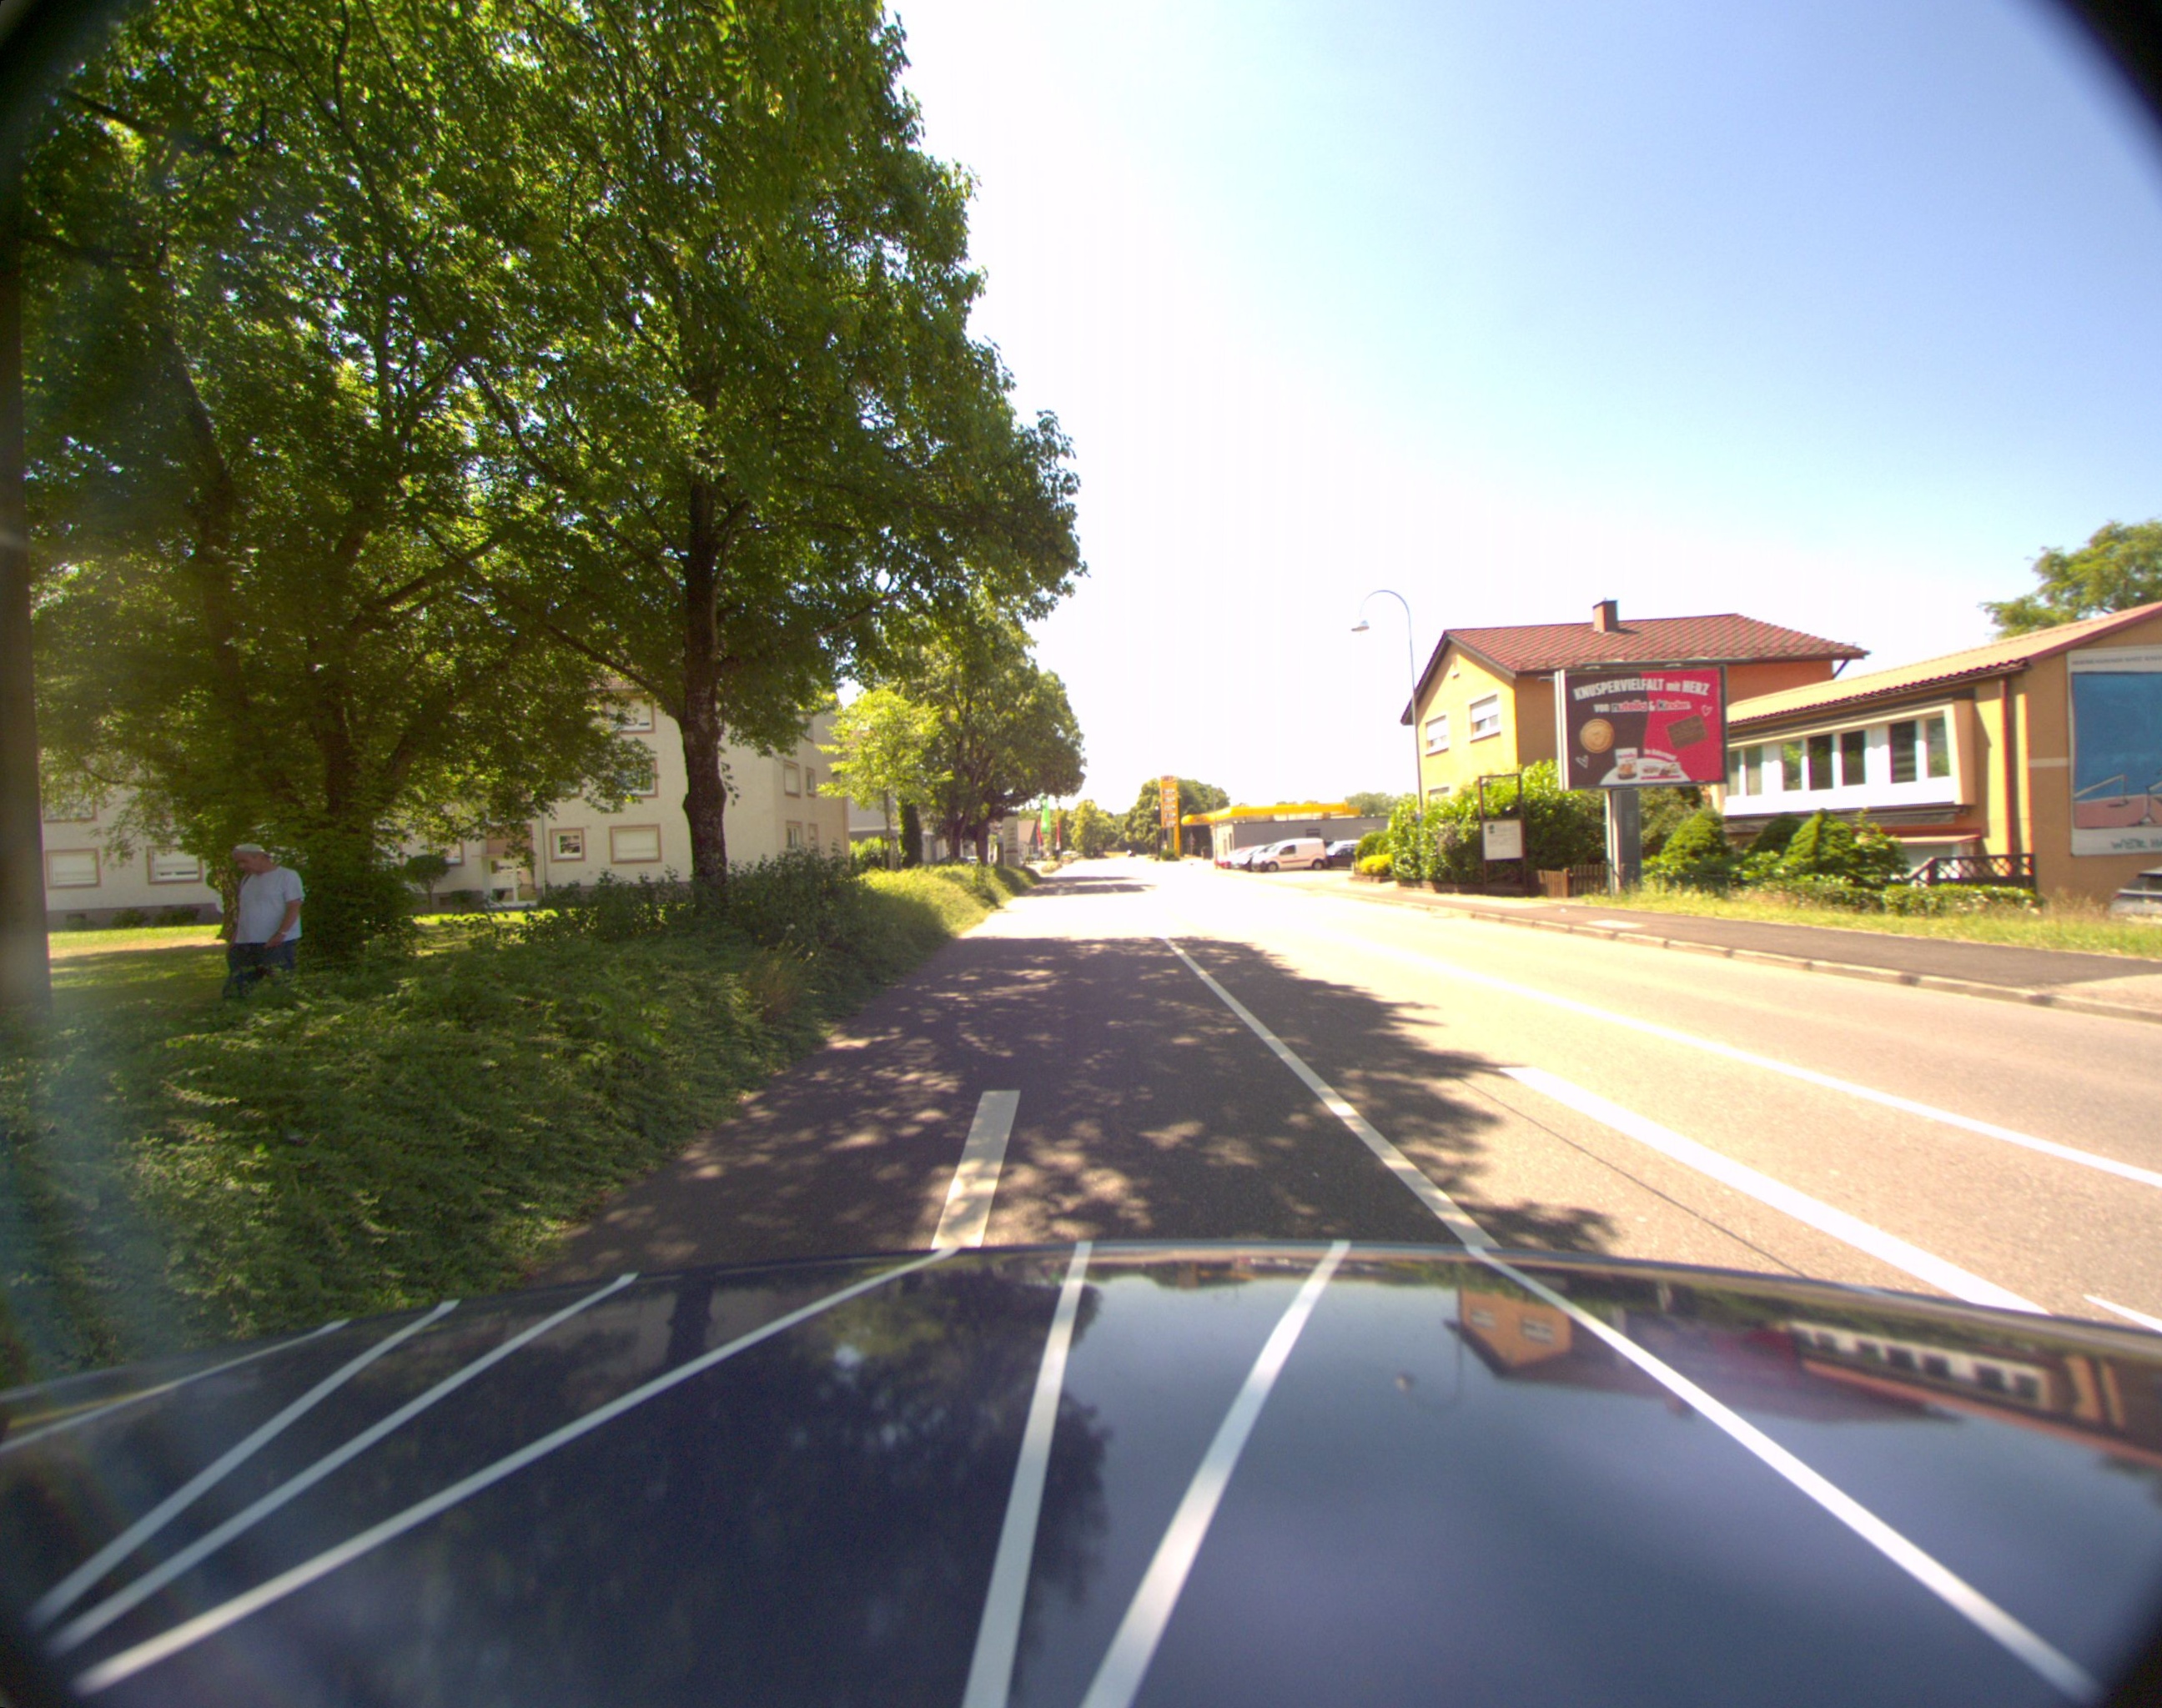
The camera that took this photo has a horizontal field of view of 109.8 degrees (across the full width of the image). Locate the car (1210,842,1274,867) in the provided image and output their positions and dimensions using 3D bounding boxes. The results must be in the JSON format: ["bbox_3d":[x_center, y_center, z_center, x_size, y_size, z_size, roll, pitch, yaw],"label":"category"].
[{"bbox_3d":[12.252,0.020,58.000,4.402,1.750,1.874,-2,1,-5],"label":"car"}]

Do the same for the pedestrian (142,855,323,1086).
[{"bbox_3d":[-7.427,0.948,6.709,0.675,1.862,0.901,-2,1,-21],"label":"pedestrian"}]

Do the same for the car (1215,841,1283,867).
[{"bbox_3d":[12.245,0.005,55.499,4.402,1.750,1.874,-2,1,-5],"label":"car"}]

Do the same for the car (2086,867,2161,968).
[{"bbox_3d":[19.848,1.013,12.356,4.224,1.599,1.772,-1,1,7],"label":"car"}]

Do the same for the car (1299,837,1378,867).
[{"bbox_3d":[16.489,-0.159,48.689,4.402,1.815,1.874,-2,2,-5],"label":"car"}]

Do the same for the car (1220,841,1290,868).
[{"bbox_3d":[12.191,0.023,53.381,4.402,1.750,1.874,-2,1,-5],"label":"car"}]

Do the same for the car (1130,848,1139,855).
[{"bbox_3d":[11.525,-0.526,163.812,1.809,1.552,4.064,-2,1,4],"label":"car"}]

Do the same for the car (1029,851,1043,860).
[{"bbox_3d":[-8.068,0.328,135.494,1.773,1.521,4.124,-2,1,-15],"label":"car"}]

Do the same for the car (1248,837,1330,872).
[{"bbox_3d":[12.118,0.009,44.426,4.191,1.858,1.874,-2,1,-5],"label":"car"}]

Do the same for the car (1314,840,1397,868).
[{"bbox_3d":[16.746,0.015,46.439,4.402,1.554,1.874,-2,1,-5],"label":"car"}]

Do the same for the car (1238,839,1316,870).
[{"bbox_3d":[11.954,0.035,46.490,4.246,1.750,1.874,-2,1,-5],"label":"car"}]

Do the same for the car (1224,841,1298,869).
[{"bbox_3d":[12.056,0.067,51.059,4.402,1.750,1.874,-2,1,-5],"label":"car"}]
